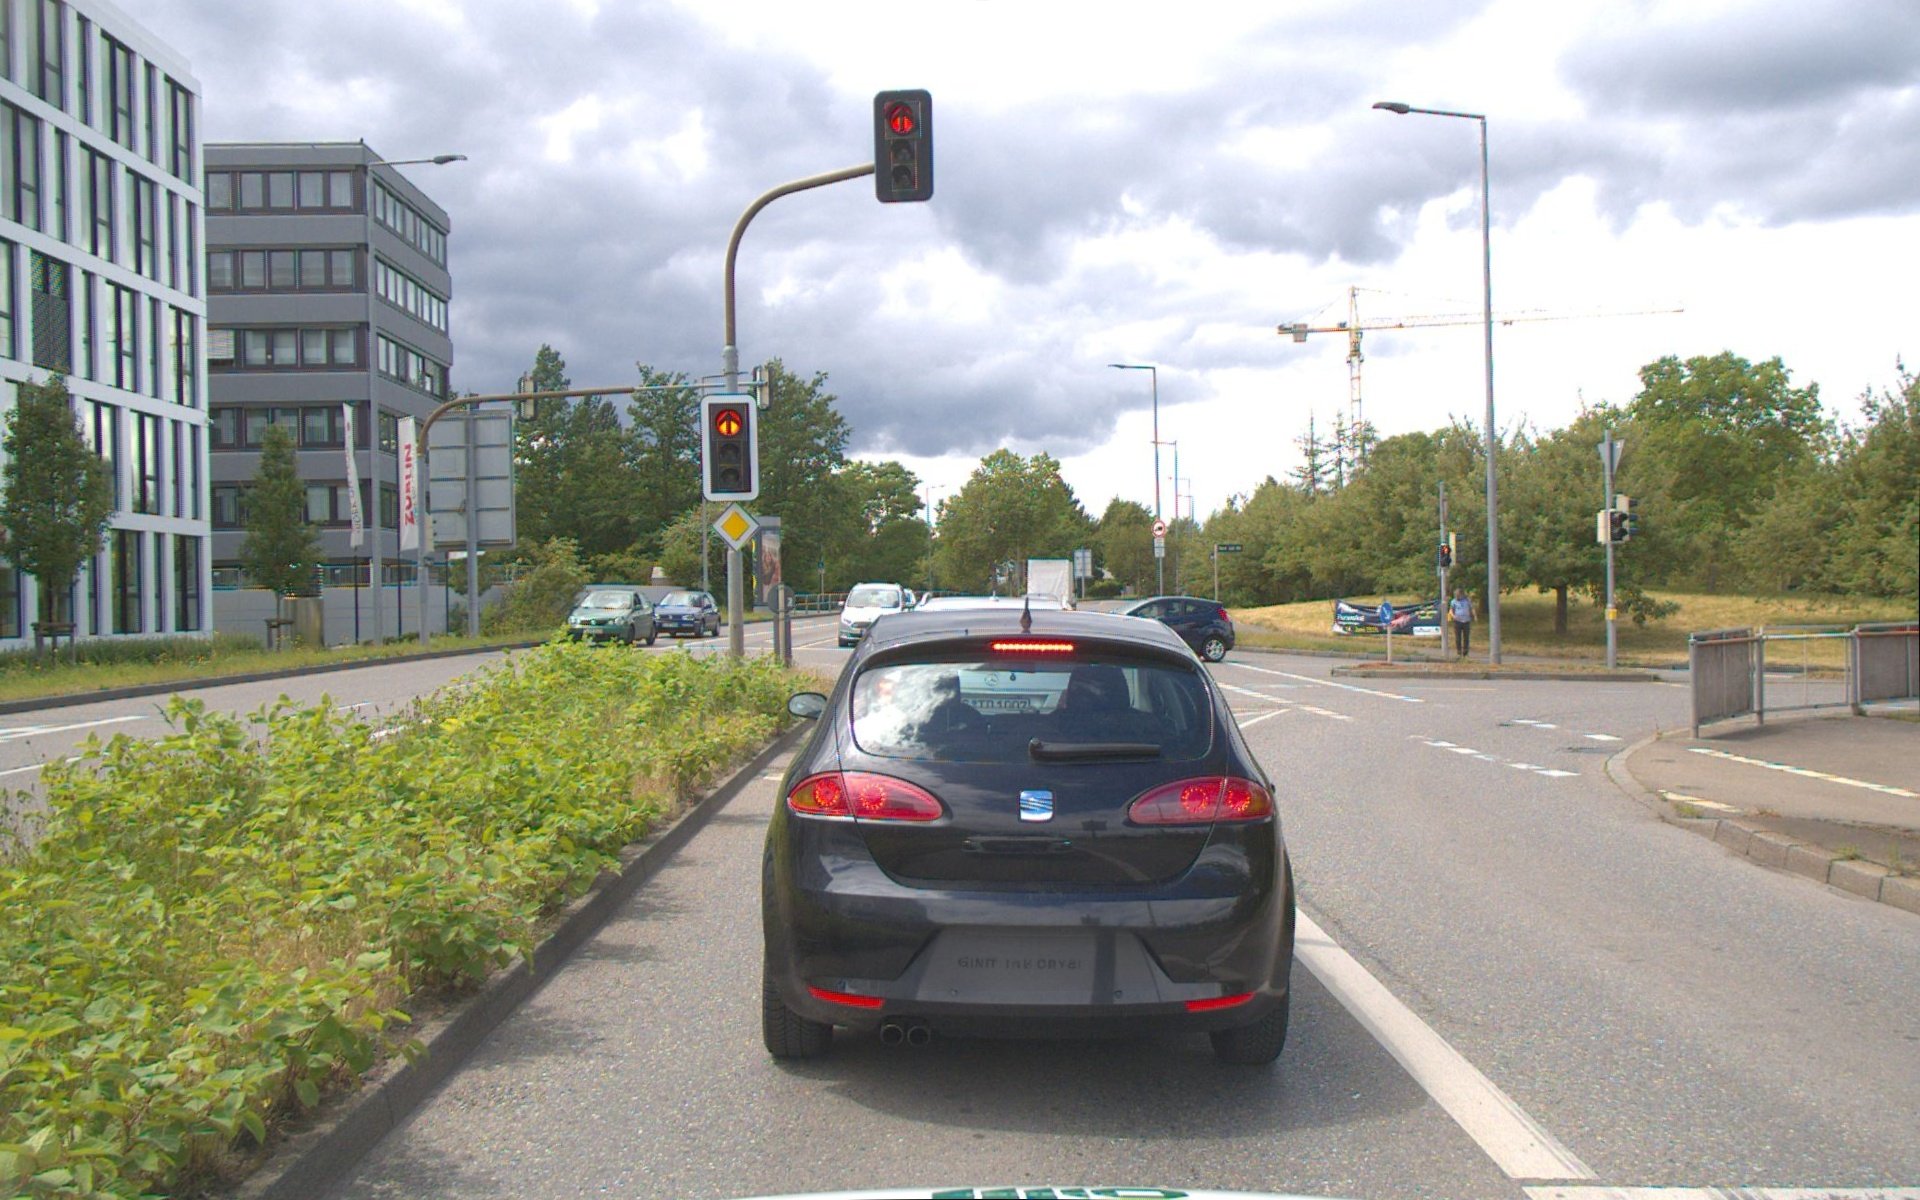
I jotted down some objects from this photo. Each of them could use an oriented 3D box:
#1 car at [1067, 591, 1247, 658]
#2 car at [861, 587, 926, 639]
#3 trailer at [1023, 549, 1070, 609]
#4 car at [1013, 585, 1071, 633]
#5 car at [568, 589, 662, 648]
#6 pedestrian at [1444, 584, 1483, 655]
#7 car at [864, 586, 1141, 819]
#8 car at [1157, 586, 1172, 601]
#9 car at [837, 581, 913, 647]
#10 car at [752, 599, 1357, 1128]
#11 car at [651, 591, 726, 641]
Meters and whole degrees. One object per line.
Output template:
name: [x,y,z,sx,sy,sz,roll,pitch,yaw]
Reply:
car: [4.546,0.564,38.367,3.809,1.471,1.755,1,0,-11]
car: [-2.065,0.378,52.246,1.625,1.545,4.086,1,1,3]
trailer: [4.733,-1.078,89.509,2.439,3.127,5.589,1,0,4]
car: [2.858,0.294,57.531,1.952,1.593,4.472,0,0,3]
car: [-8.976,0.441,43.259,1.572,1.457,3.753,0,0,1]
pedestrian: [13.120,0.504,43.092,0.703,1.824,1.044,1,0,1]
car: [0.296,0.681,12.740,1.797,1.493,3.751,1,0,0]
car: [23.170,-0.697,187.312,1.631,1.624,4.003,1,0,9]
car: [-2.320,0.345,46.165,1.783,1.716,4.646,1,1,1]
car: [0.247,0.737,6.346,1.676,1.442,3.459,1,0,-1]
car: [-8.447,0.473,51.736,1.521,1.444,3.897,1,1,3]
